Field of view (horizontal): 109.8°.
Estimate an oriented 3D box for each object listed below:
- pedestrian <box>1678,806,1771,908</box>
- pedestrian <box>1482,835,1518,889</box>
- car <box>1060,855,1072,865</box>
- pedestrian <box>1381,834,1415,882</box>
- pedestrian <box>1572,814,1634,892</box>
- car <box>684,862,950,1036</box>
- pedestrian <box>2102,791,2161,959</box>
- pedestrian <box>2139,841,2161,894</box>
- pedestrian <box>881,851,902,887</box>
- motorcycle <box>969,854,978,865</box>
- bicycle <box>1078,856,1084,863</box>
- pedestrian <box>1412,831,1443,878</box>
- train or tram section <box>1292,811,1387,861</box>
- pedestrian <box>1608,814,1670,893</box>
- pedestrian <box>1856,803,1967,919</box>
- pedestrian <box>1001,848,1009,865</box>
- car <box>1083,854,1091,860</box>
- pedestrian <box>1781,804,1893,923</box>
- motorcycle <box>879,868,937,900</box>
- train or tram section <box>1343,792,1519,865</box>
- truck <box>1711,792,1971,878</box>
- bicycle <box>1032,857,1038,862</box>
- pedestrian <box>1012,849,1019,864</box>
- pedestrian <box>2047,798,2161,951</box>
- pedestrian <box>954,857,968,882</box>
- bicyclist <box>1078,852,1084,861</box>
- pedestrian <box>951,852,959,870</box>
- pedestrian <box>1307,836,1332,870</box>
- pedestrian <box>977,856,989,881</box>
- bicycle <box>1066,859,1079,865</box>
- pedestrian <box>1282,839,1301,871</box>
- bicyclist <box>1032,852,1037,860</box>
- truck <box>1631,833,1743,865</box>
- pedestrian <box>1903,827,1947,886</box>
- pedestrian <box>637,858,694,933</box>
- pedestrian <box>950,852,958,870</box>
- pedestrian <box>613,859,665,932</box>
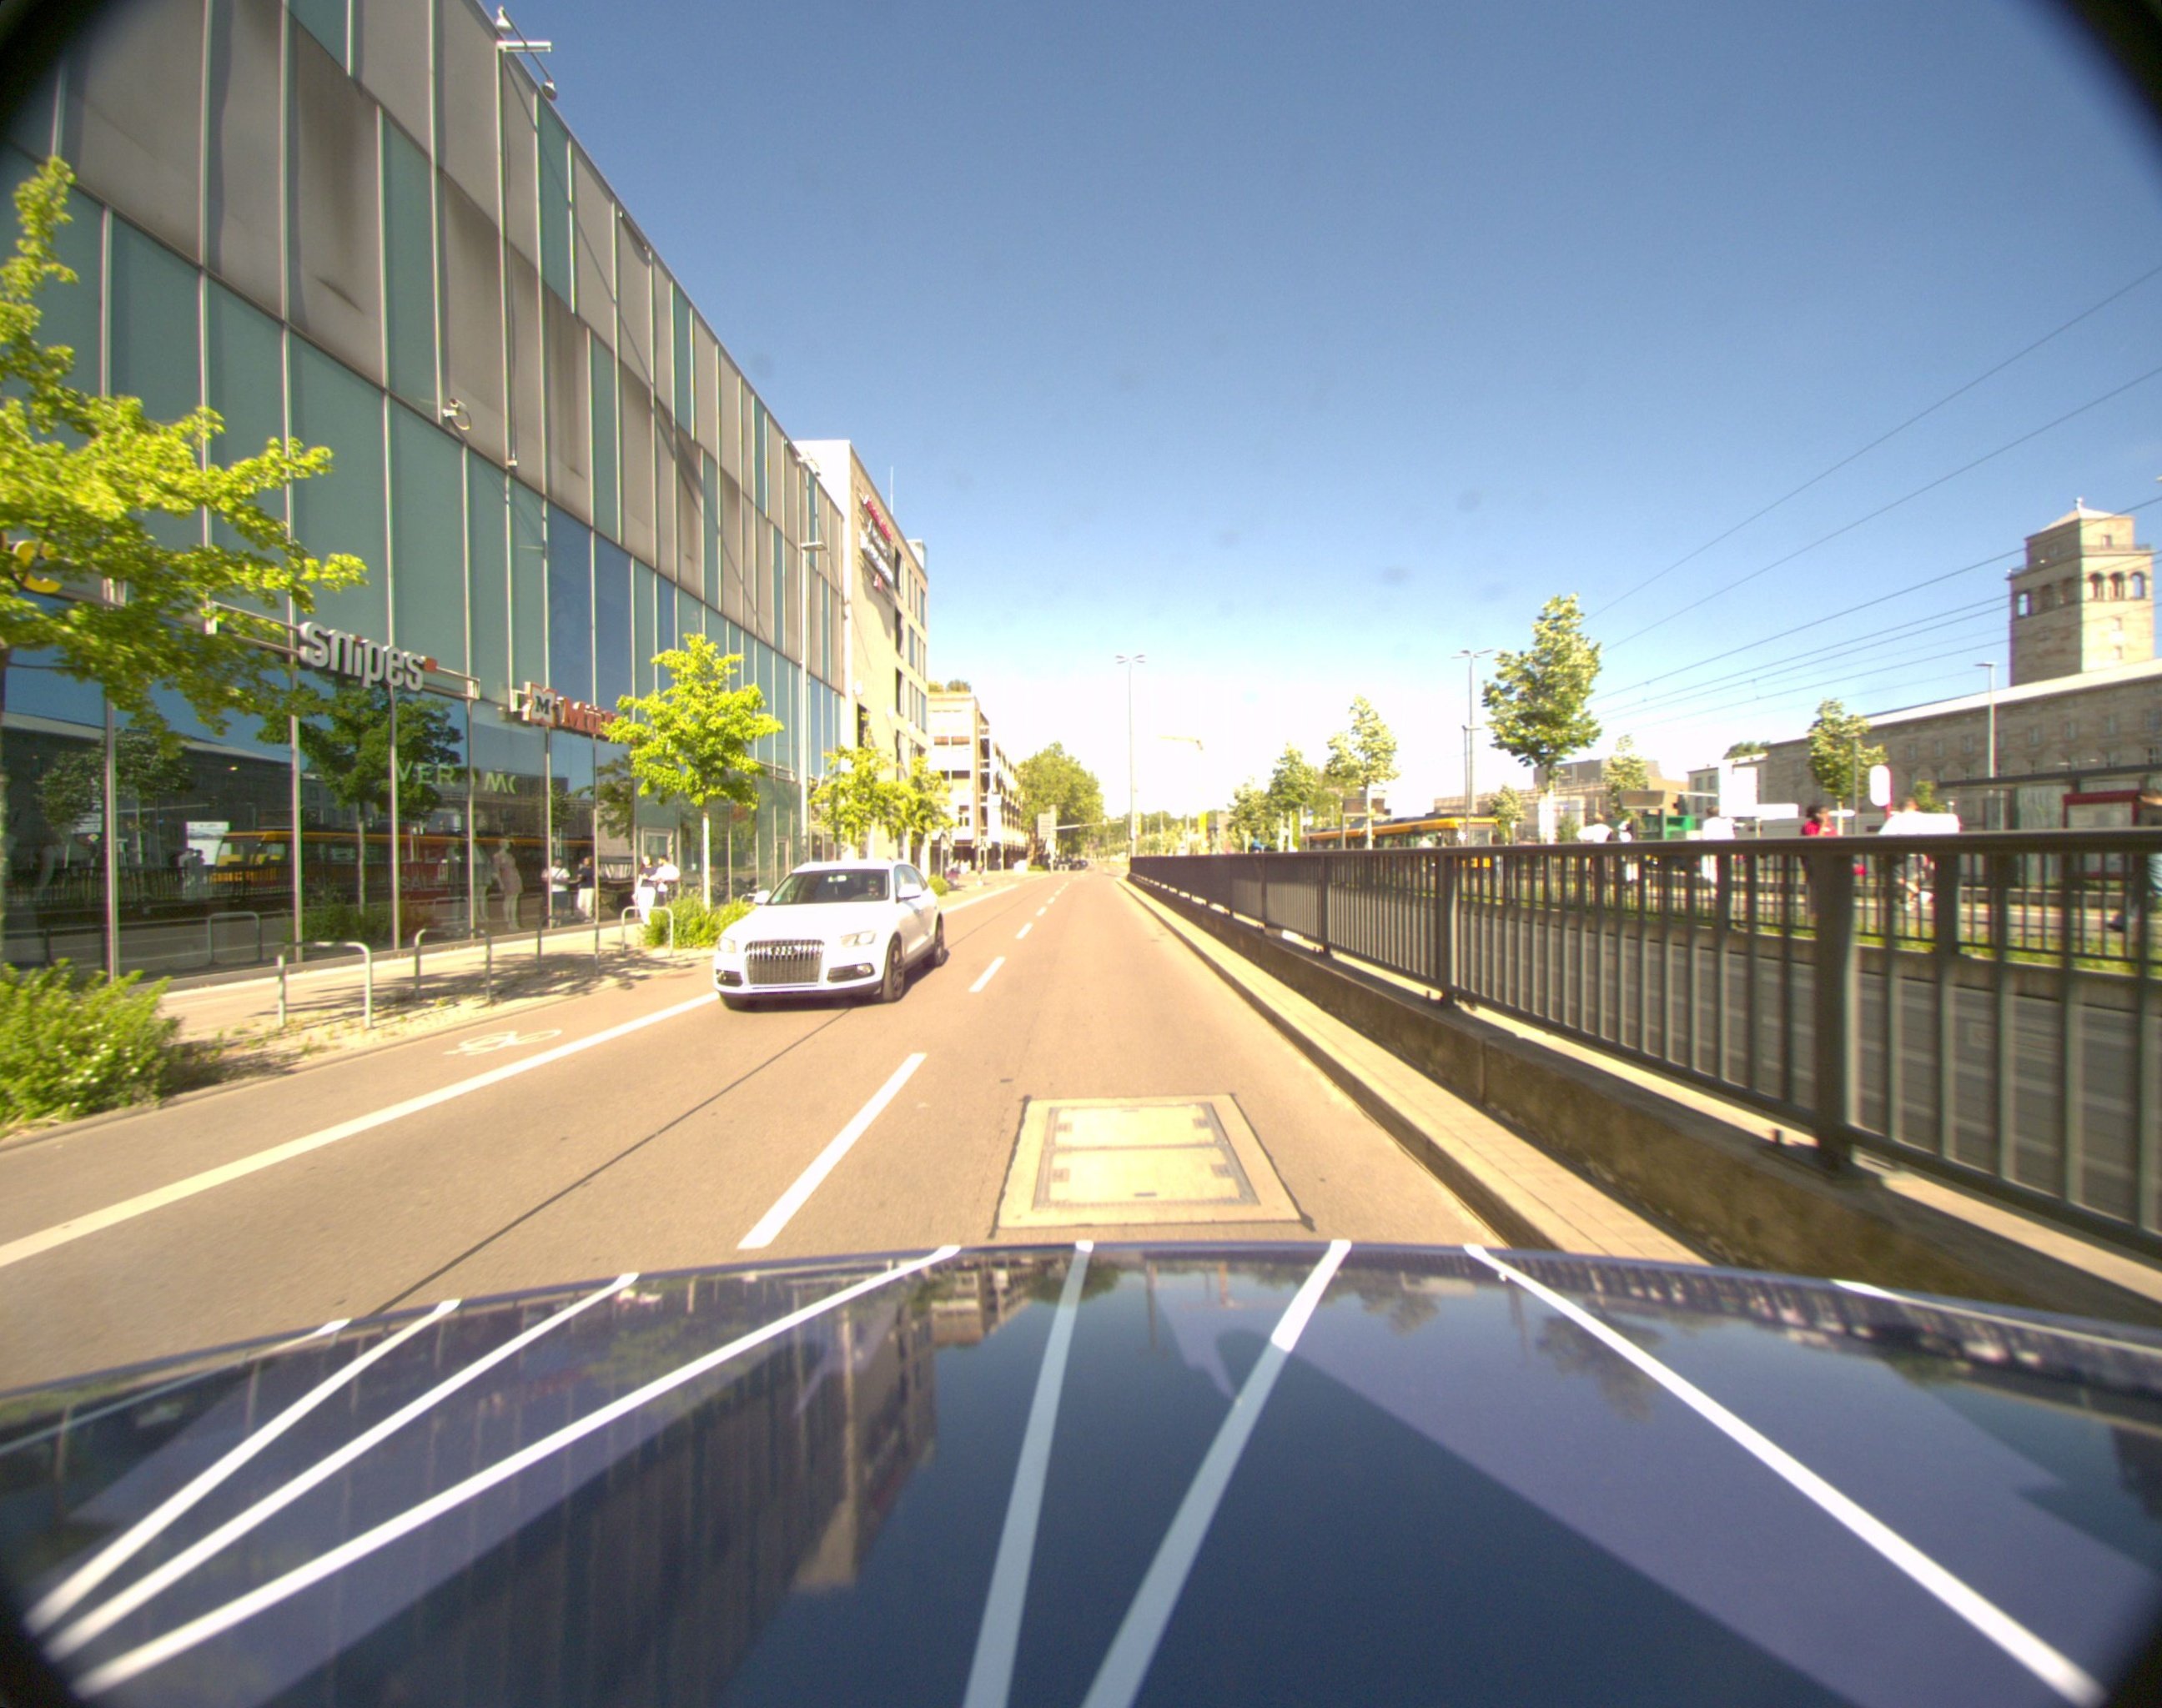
[{"bbox_3d":[12.101,0.055,14.325,0.889,1.840,1.007,-1,1,1],"label":"pedestrian"},{"bbox_3d":[12.046,0.233,21.858,0.649,1.503,0.588,-2,0,-2],"label":"pedestrian"},{"bbox_3d":[-2.392,0.996,125.160,1.752,1.481,4.560,1,0,1],"label":"car"},{"bbox_3d":[11.869,0.154,28.477,0.793,1.764,0.979,-2,0,-2],"label":"pedestrian"},{"bbox_3d":[12.419,-0.021,18.105,0.771,1.800,1.031,-1,1,0],"label":"pedestrian"},{"bbox_3d":[-2.997,0.962,9.738,1.824,1.604,4.412,-2,0,0],"label":"car"},{"bbox_3d":[10.743,0.195,7.286,0.743,1.619,0.861,-1,1,2],"label":"pedestrian"},{"bbox_3d":[22.955,0.282,15.908,0.657,1.123,0.683,-1,1,-1],"label":"pedestrian"},{"bbox_3d":[-9.539,0.735,38.289,0.729,1.791,1.066,1,1,1],"label":"pedestrian"},{"bbox_3d":[-13.946,0.689,98.893,0.825,1.433,2.122,-1,0,2],"label":"motorcycle"},{"bbox_3d":[0.029,0.813,120.866,0.845,1.123,2.553,-1,0,2],"label":"bicycle"},{"bbox_3d":[13.470,0.038,29.562,0.763,1.764,0.826,-2,0,-2],"label":"pedestrian"},{"bbox_3d":[19.366,-1.248,58.059,2.877,3.290,13.073,-3,0,1],"label":"train or tram section"},{"bbox_3d":[13.179,-0.022,17.969,0.673,1.800,1.075,-1,1,0],"label":"pedestrian"},{"bbox_3d":[12.558,0.100,11.521,0.743,1.684,0.861,-1,1,2],"label":"pedestrian"},{"bbox_3d":[-9.384,0.303,93.600,0.950,2.002,1.078,-1,1,-10],"label":"pedestrian"},{"bbox_3d":[1.701,0.887,211.189,1.999,1.597,3.896,-1,0,0],"label":"car"},{"bbox_3d":[10.781,0.133,10.867,0.743,1.619,0.861,-1,1,2],"label":"pedestrian"},{"bbox_3d":[-7.257,1.247,31.951,2.193,1.316,0.903,0,1,5],"label":"motorcycle"},{"bbox_3d":[19.147,-1.222,43.535,2.855,3.302,15.966,-2,0,1],"label":"train or tram section"},{"bbox_3d":[30.516,-0.693,31.190,2.725,2.952,7.953,-3,0,1],"label":"truck"},{"bbox_3d":[-7.979,0.939,131.309,0.883,0.979,2.051,-1,0,1],"label":"bicycle"},{"bbox_3d":[-8.912,0.361,103.381,0.949,2.002,1.079,-1,0,-6],"label":"pedestrian"},{"bbox_3d":[11.710,0.211,8.483,0.743,1.619,0.861,-1,1,2],"label":"pedestrian"},{"bbox_3d":[-7.881,1.023,49.883,0.725,1.598,0.750,0,0,2],"label":"pedestrian"},{"bbox_3d":[0.031,0.405,120.867,0.830,1.380,0.904,-1,0,2],"label":"bicyclist"},{"bbox_3d":[-11.852,0.645,71.406,0.662,1.603,0.526,1,1,-8],"label":"pedestrian"},{"bbox_3d":[12.584,-0.041,40.119,0.876,1.764,1.189,-2,0,-2],"label":"pedestrian"},{"bbox_3d":[-6.581,0.966,51.032,0.658,1.692,0.698,2,1,-1],"label":"pedestrian"},{"bbox_3d":[-1.310,1.210,116.926,1.848,0.954,0.711,1,0,-3],"label":"bicycle"},{"bbox_3d":[11.889,0.083,43.015,0.705,1.764,0.959,-2,0,-2],"label":"pedestrian"},{"bbox_3d":[-8.003,0.381,131.193,0.883,1.468,0.883,-1,0,1],"label":"bicyclist"},{"bbox_3d":[56.064,-0.440,70.478,8.023,2.776,2.464,-1,0,6],"label":"truck"},{"bbox_3d":[22.946,0.073,20.655,0.532,1.583,0.591,-1,1,-1],"label":"pedestrian"},{"bbox_3d":[-9.536,0.932,17.480,0.823,1.648,0.900,0,1,-3],"label":"pedestrian"},{"bbox_3d":[-12.060,0.657,72.029,0.662,1.603,0.526,1,1,-8],"label":"pedestrian"},{"bbox_3d":[-10.376,0.952,17.866,0.708,1.648,0.900,1,1,-3],"label":"pedestrian"}]
